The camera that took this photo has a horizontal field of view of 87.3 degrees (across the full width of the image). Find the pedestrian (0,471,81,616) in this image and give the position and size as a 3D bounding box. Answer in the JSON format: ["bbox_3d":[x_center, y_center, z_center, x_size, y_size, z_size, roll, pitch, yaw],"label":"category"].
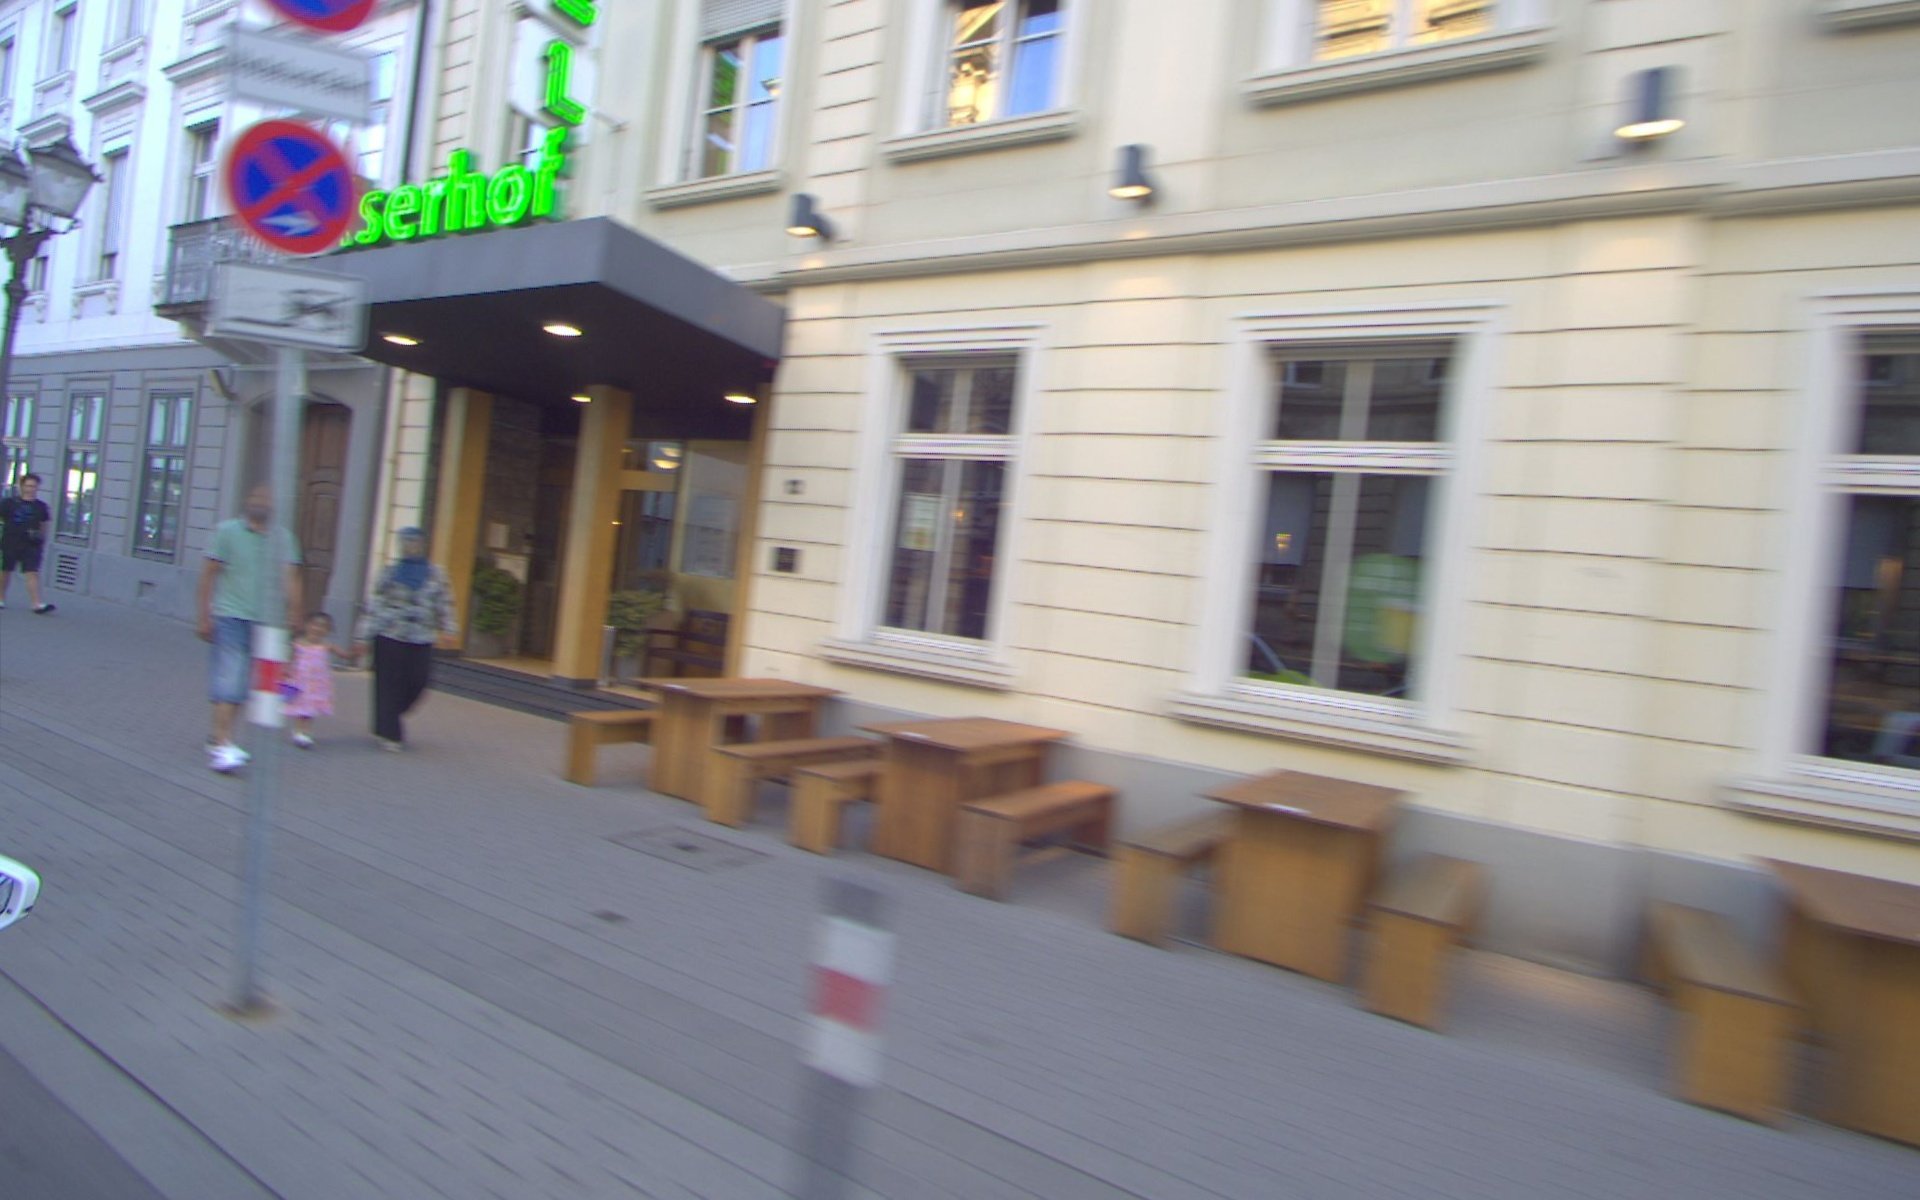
[{"bbox_3d":[-12.037,-0.726,12.973,0.859,1.751,0.714,7,0,33],"label":"pedestrian"}]

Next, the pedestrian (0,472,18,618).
[{"bbox_3d":[-12.039,-0.719,12.097,0.867,1.751,0.748,7,0,34],"label":"pedestrian"}]

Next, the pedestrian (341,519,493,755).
[{"bbox_3d":[-4.010,0.269,7.441,0.605,1.620,0.630,7,0,32],"label":"pedestrian"}]

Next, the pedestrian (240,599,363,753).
[{"bbox_3d":[-4.661,0.532,7.125,0.549,0.992,0.460,7,0,32],"label":"pedestrian"}]

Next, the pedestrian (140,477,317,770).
[{"bbox_3d":[-4.660,0.147,6.418,0.549,1.751,0.608,7,0,32],"label":"pedestrian"}]
